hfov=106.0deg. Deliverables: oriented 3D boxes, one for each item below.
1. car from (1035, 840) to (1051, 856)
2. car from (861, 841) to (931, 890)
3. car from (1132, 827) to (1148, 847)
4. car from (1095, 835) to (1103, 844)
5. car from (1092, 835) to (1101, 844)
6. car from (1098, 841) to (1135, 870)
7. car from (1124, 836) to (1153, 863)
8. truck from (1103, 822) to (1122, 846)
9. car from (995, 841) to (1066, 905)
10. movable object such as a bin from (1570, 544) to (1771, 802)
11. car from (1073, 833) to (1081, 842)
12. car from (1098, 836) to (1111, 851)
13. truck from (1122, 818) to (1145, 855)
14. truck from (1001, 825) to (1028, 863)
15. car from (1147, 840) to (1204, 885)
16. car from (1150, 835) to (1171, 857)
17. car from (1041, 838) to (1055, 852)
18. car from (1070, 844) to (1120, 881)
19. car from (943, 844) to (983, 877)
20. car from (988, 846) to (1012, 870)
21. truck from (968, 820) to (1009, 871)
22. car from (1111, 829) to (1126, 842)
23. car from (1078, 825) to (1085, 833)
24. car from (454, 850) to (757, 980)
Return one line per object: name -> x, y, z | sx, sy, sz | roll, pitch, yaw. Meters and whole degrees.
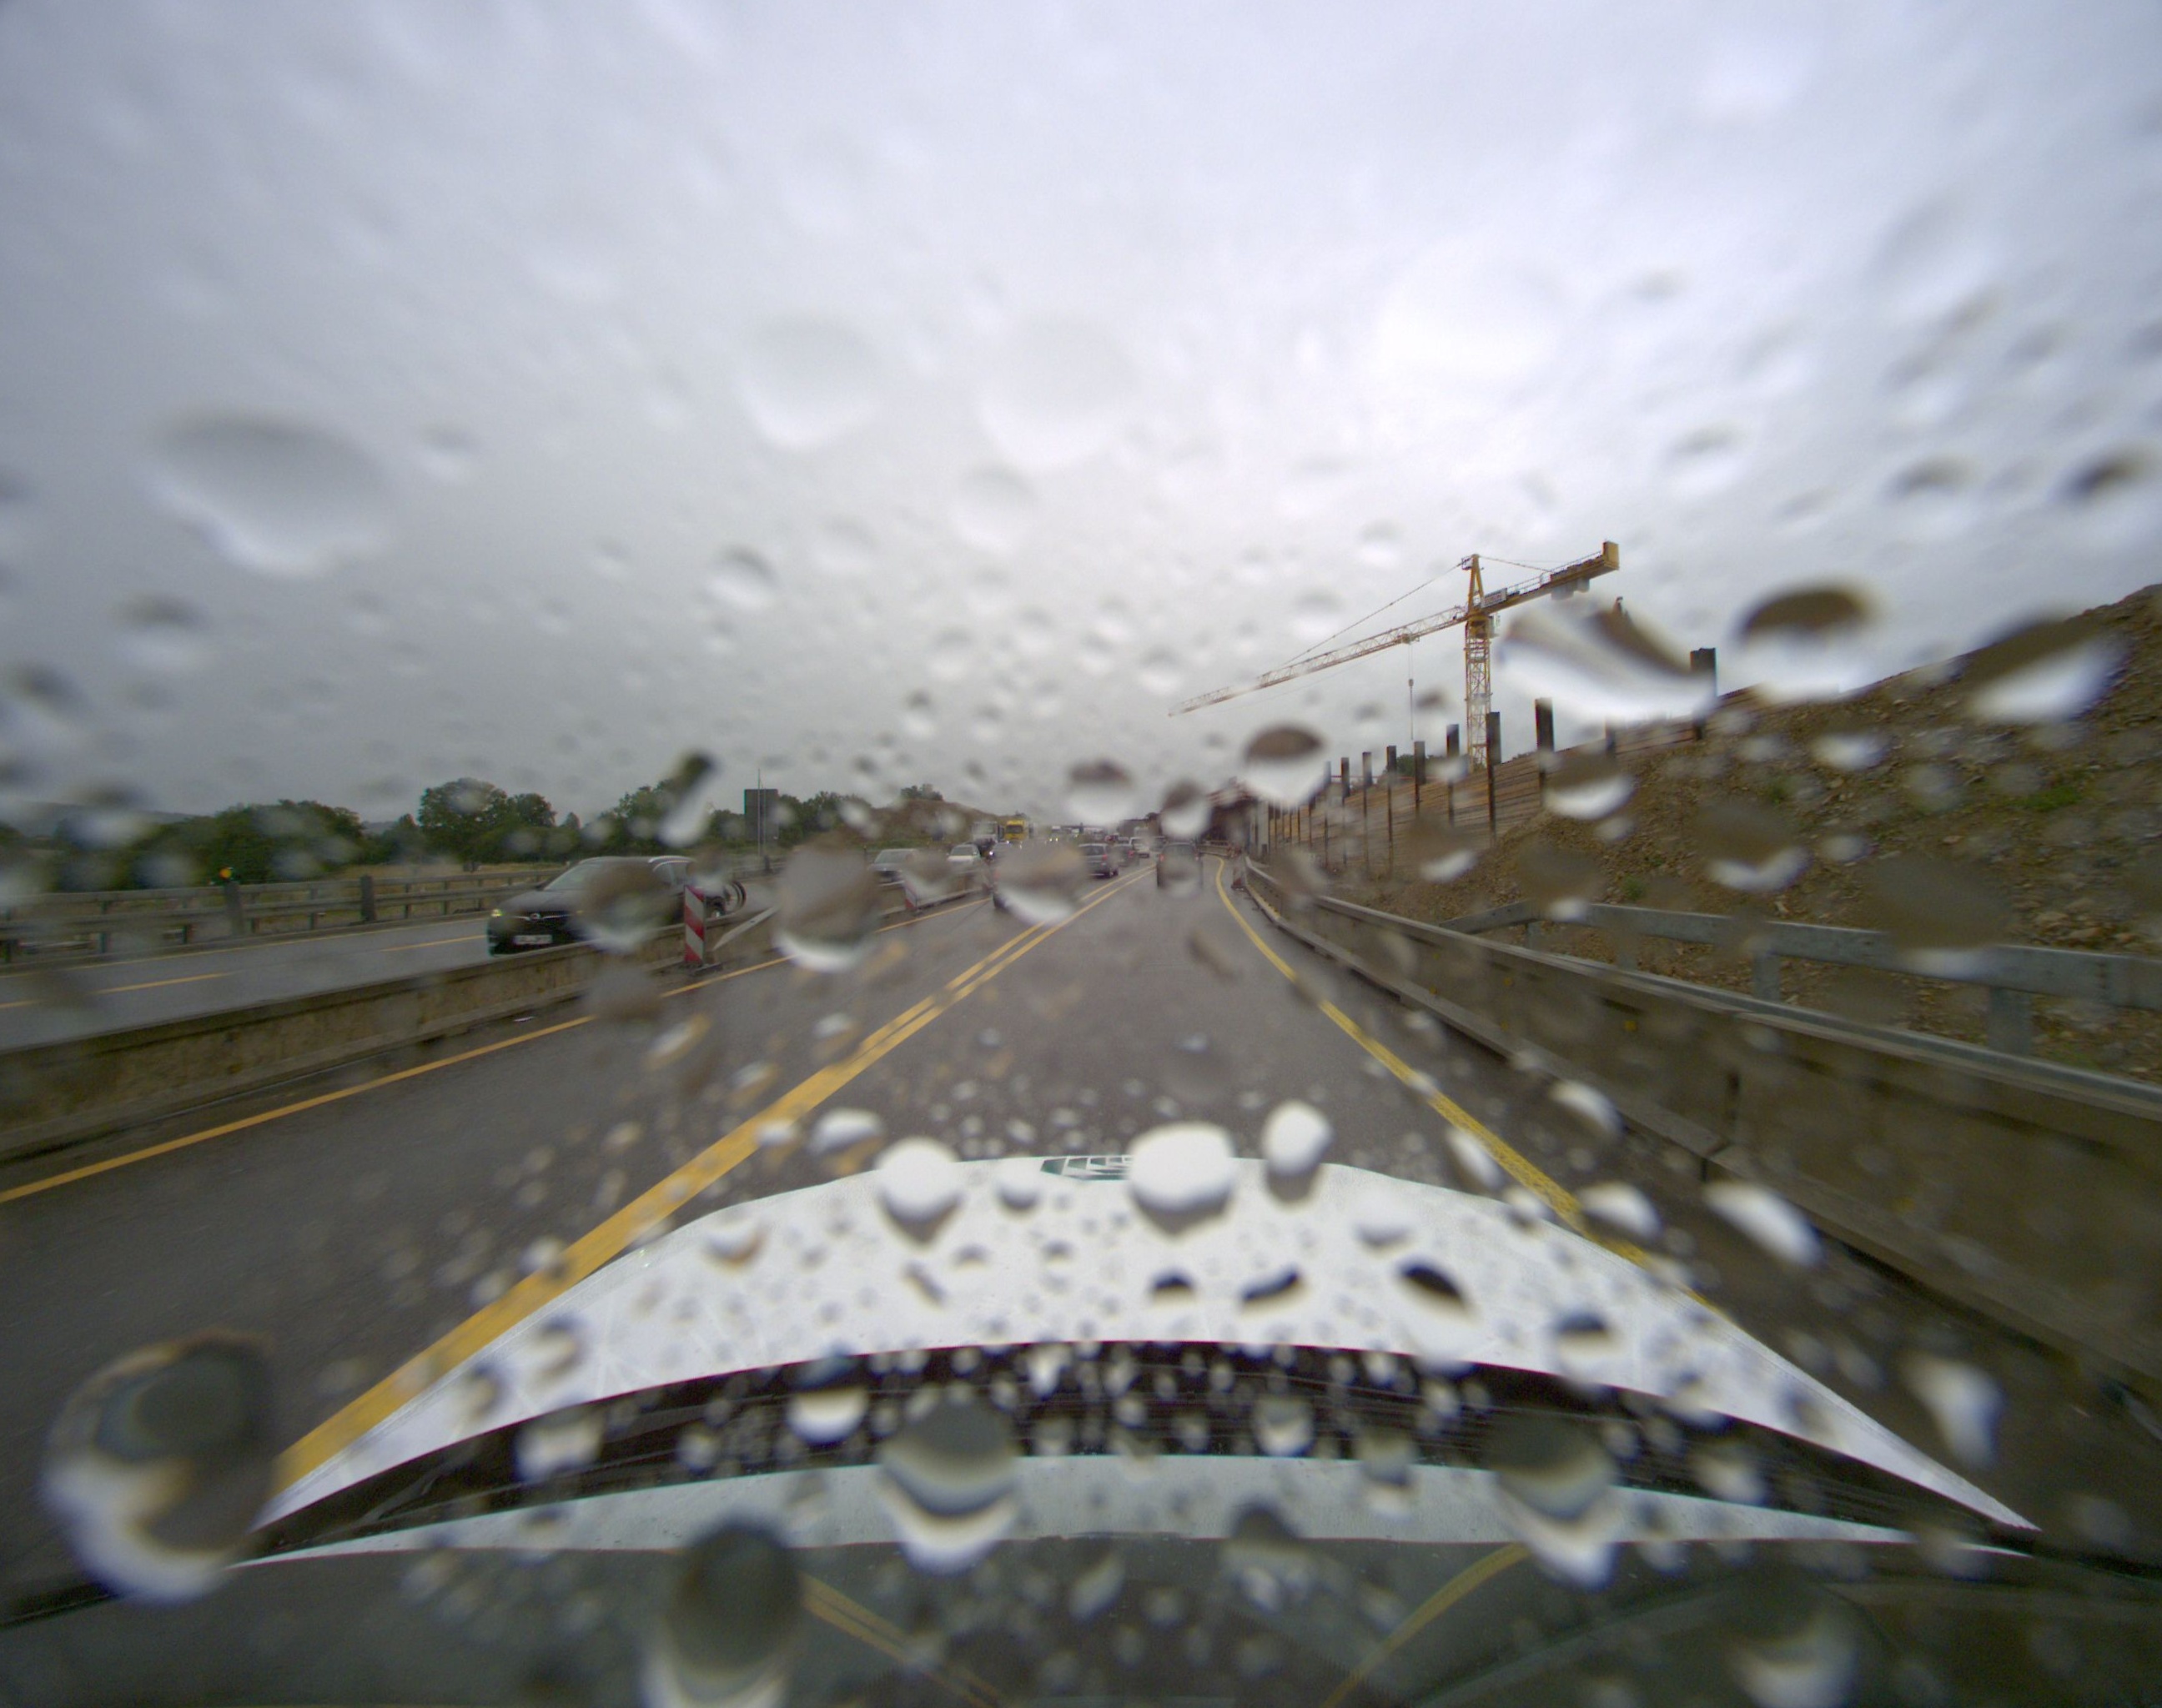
car -> -5.909, -0.967, 128.212 | 2.231, 2.359, 4.876 | -1, -1, 0
car -> -7.341, 0.530, 32.696 | 1.780, 1.810, 4.497 | -1, -3, 0
car -> 8.202, -2.373, 114.384 | 1.986, 2.485, 4.982 | -1, -3, 1
car -> 4.189, -3.334, 189.849 | 1.843, 1.894, 4.020 | -1, -3, 0
car -> 3.973, -3.670, 210.430 | 1.988, 2.014, 3.998 | -2, -1, -1
car -> 2.226, 0.116, 51.884 | 1.988, 1.601, 4.136 | -1, -3, -2
car -> 4.727, -0.368, 67.591 | 1.988, 2.014, 3.890 | -1, -3, -1
truck -> 7.448, -4.710, 196.186 | 3.793, 5.043, 12.912 | -1, -3, -1
car -> -1.357, 0.562, 23.126 | 1.811, 1.600, 4.304 | -1, -2, -2
movable object such as a bin -> 30.690, -8.810, 43.394 | 4.685, 10.844, 10.340 | -2, -3, 14
car -> -0.984, -4.248, 210.236 | 1.988, 2.014, 3.997 | -1, -3, -1
car -> 3.996, -1.714, 137.240 | 1.984, 2.163, 4.145 | -1, -3, 5
truck -> 8.771, -2.789, 134.197 | 3.085, 5.427, 9.460 | -1, -3, 7
truck -> -9.720, -1.346, 119.863 | 3.131, 5.418, 8.522 | -1, -1, 0
car -> 3.713, 0.393, 32.331 | 2.071, 1.601, 4.146 | -1, -3, 6
car -> 8.781, -0.864, 90.429 | 1.986, 2.163, 4.141 | -1, -3, 1
car -> -5.863, -1.618, 144.532 | 2.209, 2.370, 4.663 | -1, -1, 0
car -> 0.723, 0.463, 39.248 | 1.983, 1.601, 4.147 | -1, -3, 6
car -> -7.154, 0.446, 49.771 | 1.780, 1.810, 4.497 | -1, -3, 0
car -> -6.664, 0.355, 67.292 | 1.617, 1.810, 3.636 | -1, -3, 0
truck -> -9.297, -0.776, 82.946 | 3.072, 4.920, 8.563 | -1, -1, 0
car -> 5.481, -2.721, 120.997 | 1.988, 1.762, 3.812 | -1, -3, -1
car -> 0.141, -6.877, 224.372 | 1.988, 2.014, 3.997 | -1, -3, -1
car -> -7.313, 0.809, 13.410 | 1.732, 1.684, 5.550 | 0, 0, 0
